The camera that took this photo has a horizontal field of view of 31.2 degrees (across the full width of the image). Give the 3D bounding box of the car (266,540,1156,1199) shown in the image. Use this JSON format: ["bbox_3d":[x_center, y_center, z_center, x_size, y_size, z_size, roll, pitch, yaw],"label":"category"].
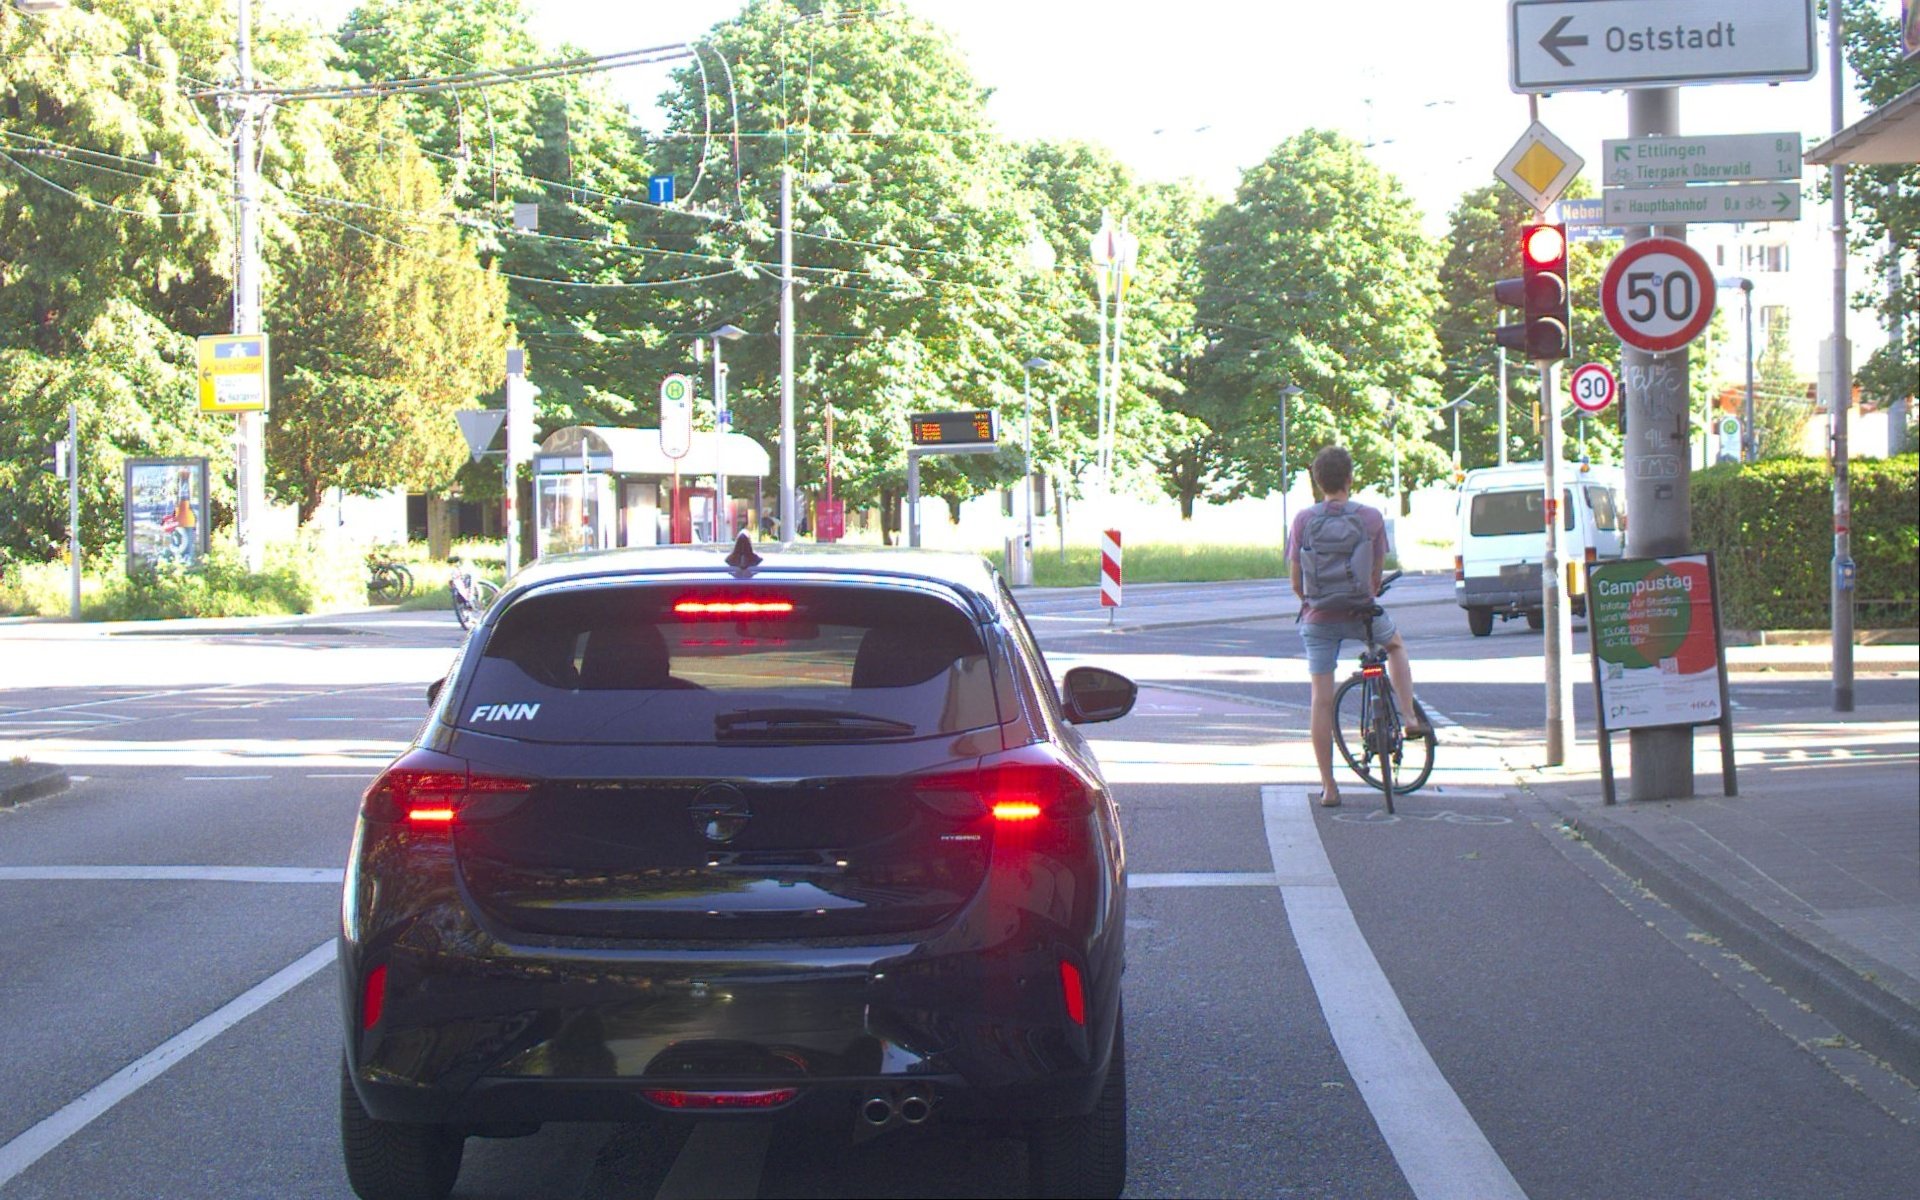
[{"bbox_3d":[-0.502,0.573,8.799,1.727,1.424,4.187,0,1,0],"label":"car"}]

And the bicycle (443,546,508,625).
[{"bbox_3d":[-6.546,-0.207,46.491,0.605,1.028,1.982,-1,1,-1],"label":"bicycle"}]

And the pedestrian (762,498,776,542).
[{"bbox_3d":[-6.187,-2.575,111.234,0.412,1.408,0.436,1,0,-1],"label":"pedestrian"}]

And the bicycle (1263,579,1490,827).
[{"bbox_3d":[2.120,0.494,17.787,0.860,1.149,2.172,-1,1,-1],"label":"bicycle"}]

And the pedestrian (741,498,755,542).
[{"bbox_3d":[-6.897,-2.597,111.648,0.412,1.408,0.436,1,0,-3],"label":"pedestrian"}]

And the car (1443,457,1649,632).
[{"bbox_3d":[7.980,-0.773,46.470,2.065,2.241,4.883,0,1,18],"label":"car"}]

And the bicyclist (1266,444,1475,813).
[{"bbox_3d":[2.107,0.133,17.766,0.941,1.845,0.864,-1,1,-1],"label":"bicyclist"}]
